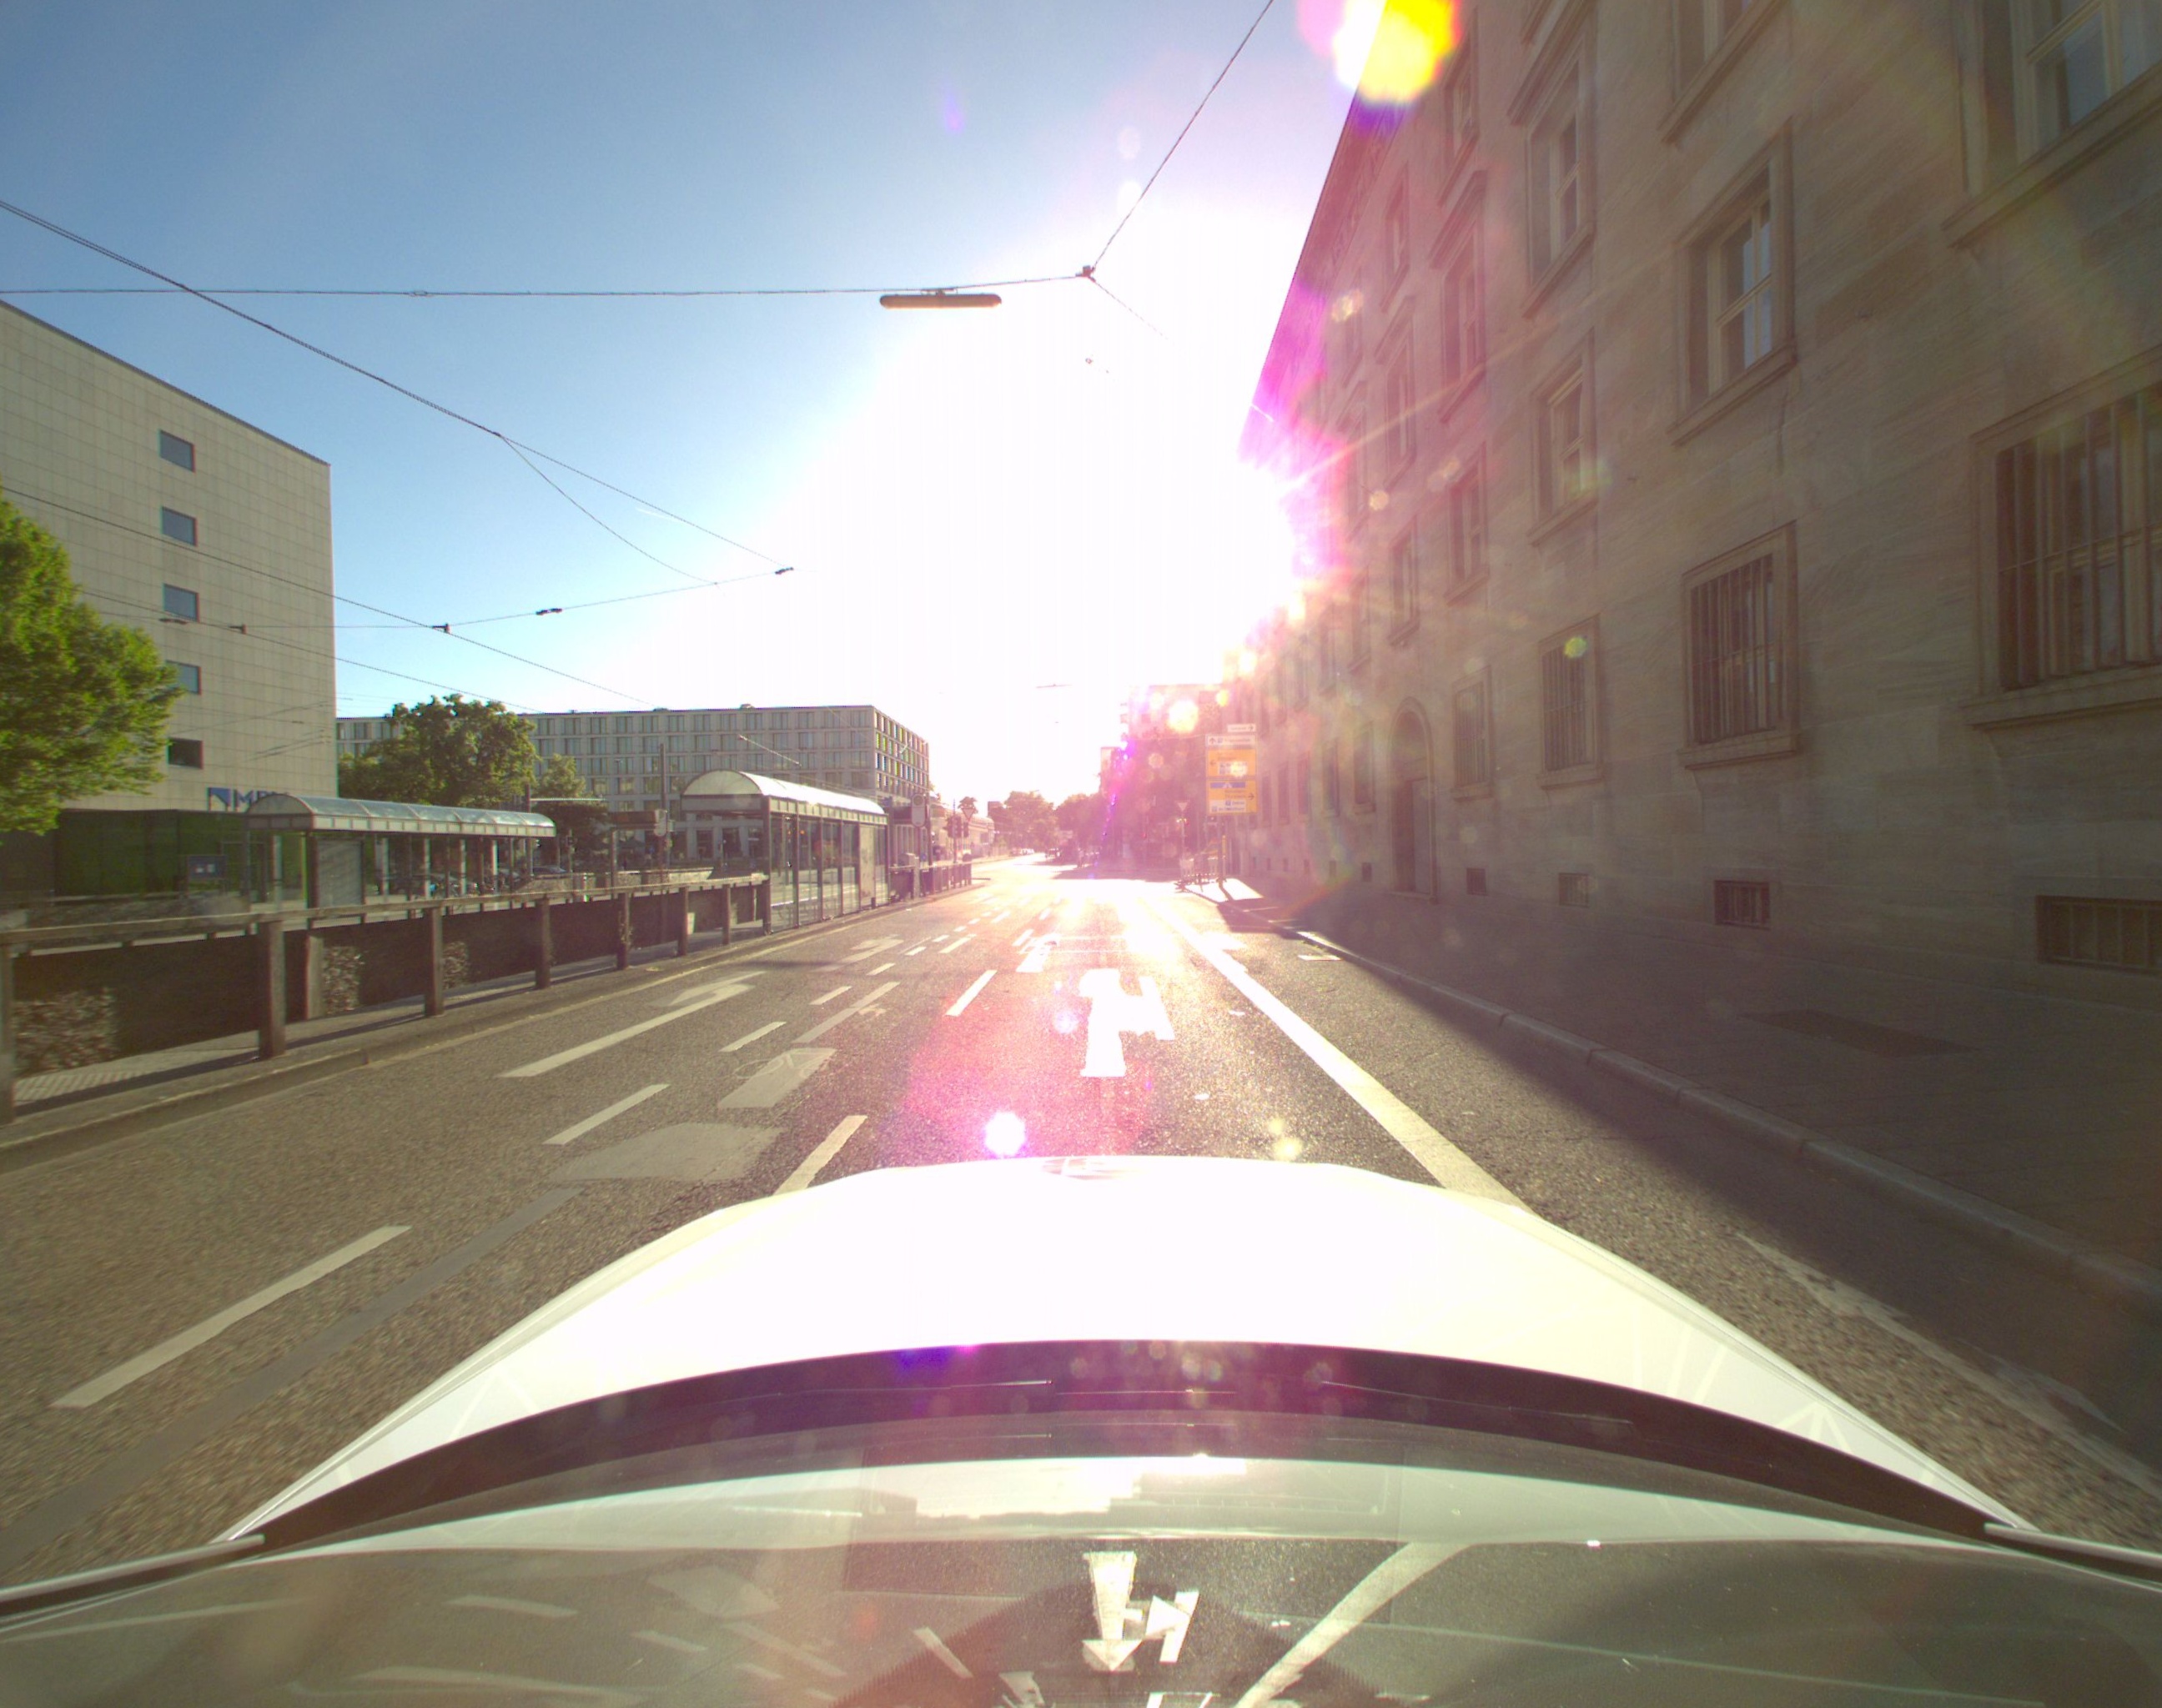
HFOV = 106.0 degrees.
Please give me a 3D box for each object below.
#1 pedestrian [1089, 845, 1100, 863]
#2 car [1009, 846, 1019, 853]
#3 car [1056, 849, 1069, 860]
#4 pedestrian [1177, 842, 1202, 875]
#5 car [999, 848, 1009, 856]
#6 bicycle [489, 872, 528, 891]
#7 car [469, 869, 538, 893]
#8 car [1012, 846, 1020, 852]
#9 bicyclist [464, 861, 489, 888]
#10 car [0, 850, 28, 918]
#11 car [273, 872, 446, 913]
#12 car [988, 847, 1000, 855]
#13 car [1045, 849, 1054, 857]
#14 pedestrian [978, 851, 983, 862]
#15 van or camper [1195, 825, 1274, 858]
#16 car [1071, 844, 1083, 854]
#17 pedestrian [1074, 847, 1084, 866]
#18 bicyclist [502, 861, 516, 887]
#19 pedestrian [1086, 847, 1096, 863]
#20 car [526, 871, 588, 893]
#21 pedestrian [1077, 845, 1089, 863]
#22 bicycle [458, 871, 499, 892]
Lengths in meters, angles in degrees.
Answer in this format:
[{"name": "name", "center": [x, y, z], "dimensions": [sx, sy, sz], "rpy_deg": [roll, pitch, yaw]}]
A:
[{"name": "pedestrian", "center": [1.378, 0.017, 80.666], "dimensions": [0.849, 1.784, 0.776], "rpy_deg": [-2, 0, -15]}, {"name": "car", "center": [-15.782, -1.101, 191.093], "dimensions": [1.813, 1.712, 3.807], "rpy_deg": [-2, 1, 1]}, {"name": "car", "center": [-2.632, 0.092, 117.444], "dimensions": [1.678, 1.501, 3.510], "rpy_deg": [0, 0, 1]}, {"name": "pedestrian", "center": [5.883, 0.241, 44.250], "dimensions": [1.039, 1.720, 1.032], "rpy_deg": [-2, 0, -10]}, {"name": "car", "center": [-16.896, -0.523, 179.304], "dimensions": [1.813, 1.712, 3.807], "rpy_deg": [-2, 1, 1]}, {"name": "bicycle", "center": [-36.789, 1.774, 52.374], "dimensions": [1.933, 1.122, 0.783], "rpy_deg": [-2, 1, -26]}, {"name": "car", "center": [-39.510, 1.865, 55.760], "dimensions": [3.520, 1.506, 1.522], "rpy_deg": [-1, 1, -1]}, {"name": "car", "center": [-15.516, -1.252, 194.696], "dimensions": [1.604, 1.498, 3.807], "rpy_deg": [-2, 1, 1]}, {"name": "bicyclist", "center": [-39.178, 1.312, 52.771], "dimensions": [0.885, 1.694, 0.846], "rpy_deg": [-2, 0, 7]}, {"name": "car", "center": [-27.140, 0.713, 17.940], "dimensions": [4.531, 1.569, 1.574], "rpy_deg": [0, -1, -32]}, {"name": "car", "center": [-26.316, 1.359, 29.922], "dimensions": [4.531, 1.350, 1.574], "rpy_deg": [0, -1, -32]}, {"name": "car", "center": [-17.934, -0.605, 168.246], "dimensions": [1.813, 1.712, 3.807], "rpy_deg": [-2, 1, 1]}, {"name": "car", "center": [-6.759, -0.186, 175.398], "dimensions": [1.678, 1.737, 3.510], "rpy_deg": [0, 0, 1]}, {"name": "pedestrian", "center": [-12.927, 0.305, 104.516], "dimensions": [0.509, 1.329, 0.369], "rpy_deg": [-1, 0, 3]}, {"name": "van or camper", "center": [13.554, -1.079, 72.472], "dimensions": [6.675, 2.861, 2.915], "rpy_deg": [0, 0, 5]}, {"name": "car", "center": [-0.570, -0.791, 126.499], "dimensions": [1.678, 1.501, 3.510], "rpy_deg": [0, 0, 1]}, {"name": "pedestrian", "center": [-0.216, 0.236, 81.128], "dimensions": [0.849, 1.784, 0.776], "rpy_deg": [-2, 0, -15]}, {"name": "bicyclist", "center": [-36.790, 1.280, 52.383], "dimensions": [0.621, 1.582, 0.589], "rpy_deg": [-2, 0, -23]}, {"name": "pedestrian", "center": [0.993, 0.100, 81.432], "dimensions": [0.763, 1.558, 0.585], "rpy_deg": [-2, 0, -15]}, {"name": "car", "center": [-38.306, 2.056, 59.606], "dimensions": [3.520, 1.506, 1.522], "rpy_deg": [-1, 1, -1]}, {"name": "pedestrian", "center": [0.208, -0.019, 79.588], "dimensions": [0.967, 1.784, 0.776], "rpy_deg": [-2, 0, -15]}, {"name": "bicycle", "center": [-39.087, 1.784, 52.844], "dimensions": [2.037, 1.288, 0.888], "rpy_deg": [-2, 0, 6]}]
